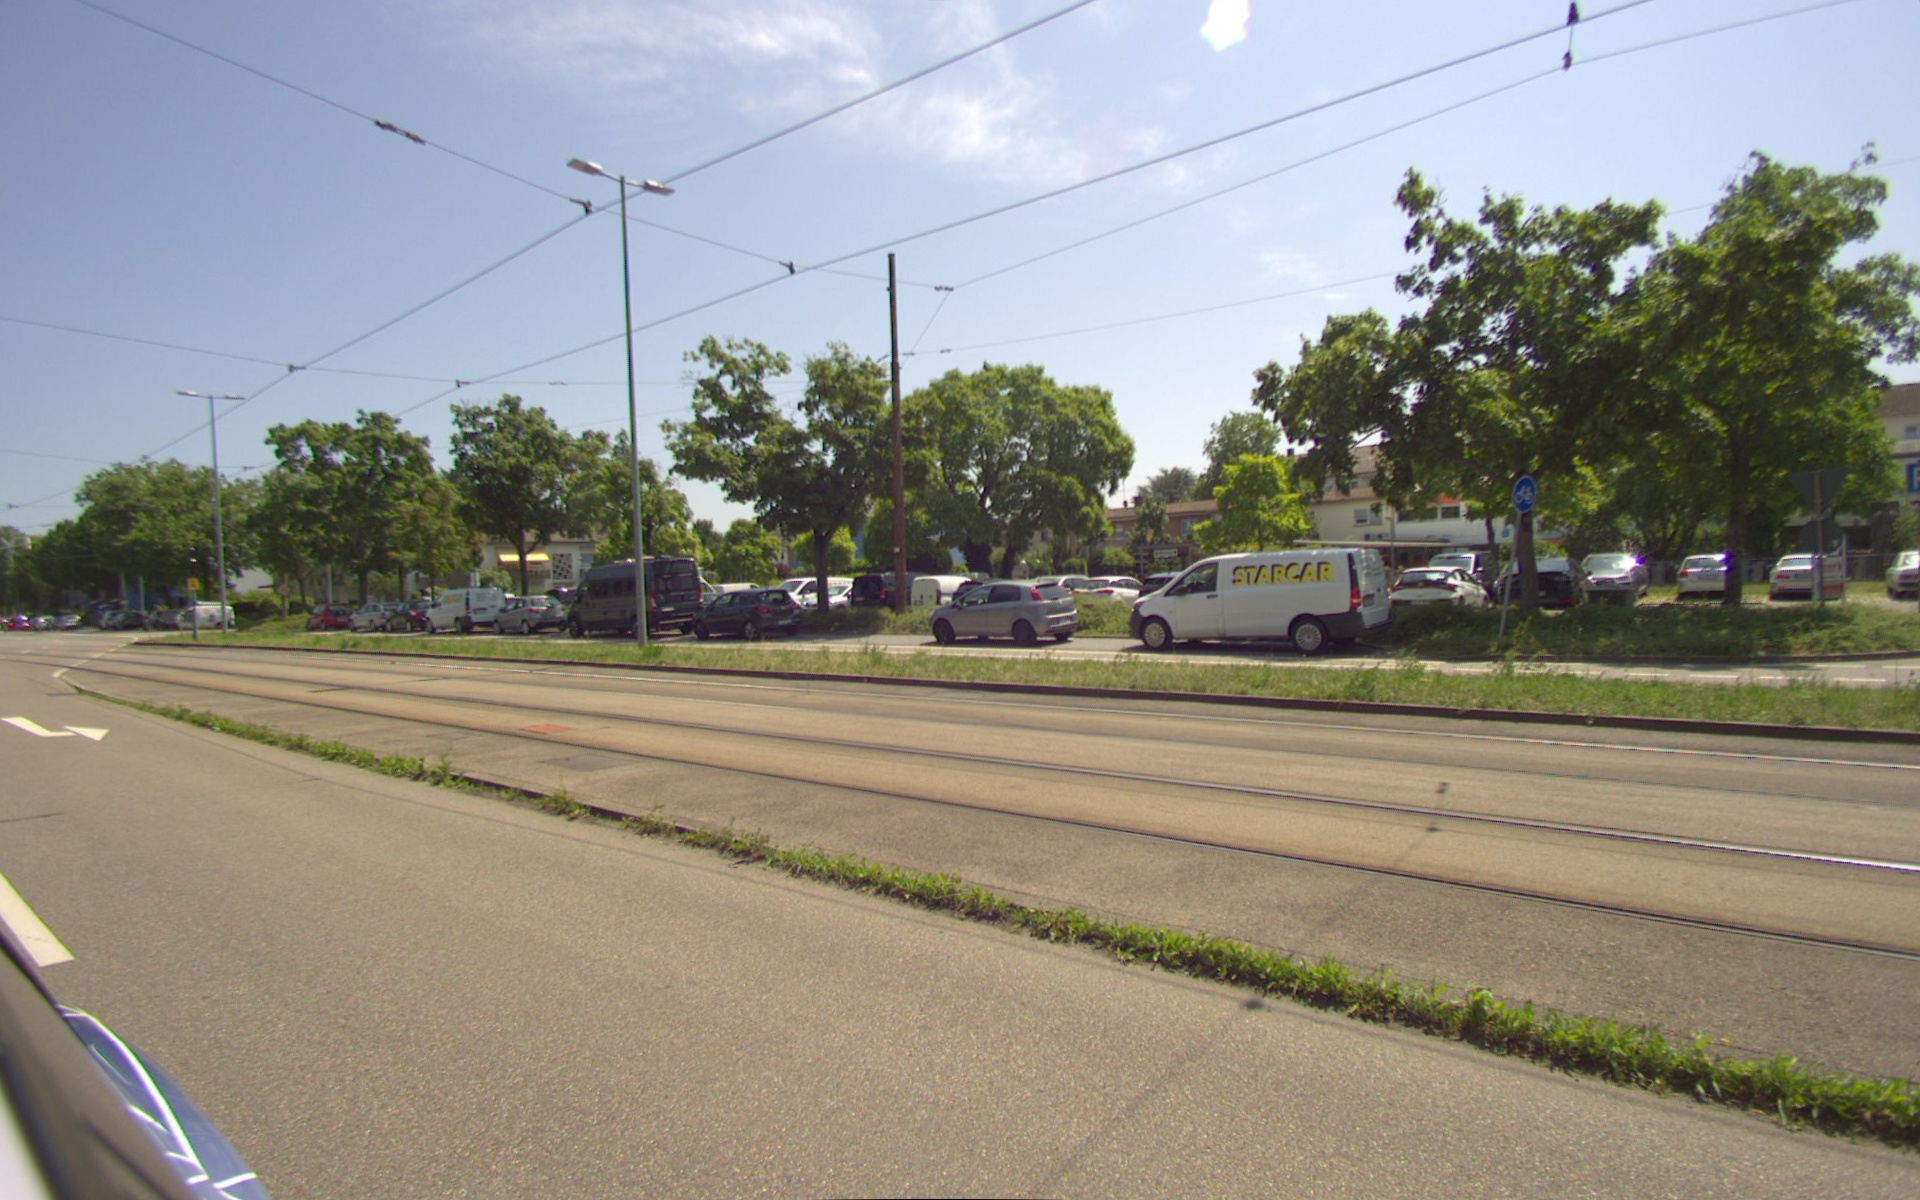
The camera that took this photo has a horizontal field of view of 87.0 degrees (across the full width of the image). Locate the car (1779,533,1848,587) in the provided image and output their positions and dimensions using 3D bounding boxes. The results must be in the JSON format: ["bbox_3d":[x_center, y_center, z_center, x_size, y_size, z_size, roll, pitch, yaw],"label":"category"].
[{"bbox_3d":[27.147,-1.230,32.144,1.520,1.591,3.944,0,1,43],"label":"car"}]

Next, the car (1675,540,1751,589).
[{"bbox_3d":[25.528,-1.168,34.254,1.661,1.531,3.944,0,1,43],"label":"car"}]

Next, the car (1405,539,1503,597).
[{"bbox_3d":[19.098,-1.196,39.002,2.225,2.085,5.056,0,1,40],"label":"car"}]

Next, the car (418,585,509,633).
[{"bbox_3d":[-21.630,0.380,44.031,4.816,1.963,1.899,0,1,42],"label":"car"}]

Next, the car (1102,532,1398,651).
[{"bbox_3d":[5.626,-0.169,20.177,5.342,2.025,1.856,-1,4,42],"label":"car"}]

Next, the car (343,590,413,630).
[{"bbox_3d":[-29.289,0.479,50.872,4.494,1.907,1.614,0,1,41],"label":"car"}]

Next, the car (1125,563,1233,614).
[{"bbox_3d":[7.078,-0.402,32.418,2.018,1.501,4.117,-1,1,33],"label":"car"}]

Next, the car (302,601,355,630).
[{"bbox_3d":[-34.359,0.809,55.052,3.423,1.491,1.561,0,1,43],"label":"car"}]

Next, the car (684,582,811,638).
[{"bbox_3d":[-6.496,0.271,30.825,3.750,1.589,1.950,0,1,41],"label":"car"}]

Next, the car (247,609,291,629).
[{"bbox_3d":[-43.149,1.191,63.179,3.423,1.167,1.561,0,1,43],"label":"car"}]

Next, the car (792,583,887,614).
[{"bbox_3d":[-5.071,-0.059,43.000,1.732,1.152,3.951,-1,1,36],"label":"car"}]

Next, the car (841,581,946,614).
[{"bbox_3d":[-2.662,-0.118,41.410,2.029,1.152,4.211,-1,1,36],"label":"car"}]

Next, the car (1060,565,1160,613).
[{"bbox_3d":[5.193,-0.393,34.577,1.827,1.501,4.030,-1,1,33],"label":"car"}]

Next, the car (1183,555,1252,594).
[{"bbox_3d":[11.696,-1.155,45.758,1.689,1.665,4.082,-1,1,35],"label":"car"}]

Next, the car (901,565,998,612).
[{"bbox_3d":[-0.360,-0.465,40.272,1.794,1.730,3.951,-1,1,36],"label":"car"}]

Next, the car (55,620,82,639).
[{"bbox_3d":[-92.639,3.013,105.125,3.983,1.867,1.681,0,1,43],"label":"car"}]

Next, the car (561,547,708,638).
[{"bbox_3d":[-11.264,-0.247,34.782,5.665,2.859,2.215,0,1,42],"label":"car"}]

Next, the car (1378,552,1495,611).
[{"bbox_3d":[13.279,-0.546,28.075,1.982,1.501,4.120,-1,1,39],"label":"car"}]

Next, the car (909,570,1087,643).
[{"bbox_3d":[0.848,0.144,24.393,4.124,1.513,1.633,-1,5,42],"label":"car"}]

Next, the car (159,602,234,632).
[{"bbox_3d":[-54.127,1.201,71.874,4.144,2.005,1.826,-1,1,-35],"label":"car"}]

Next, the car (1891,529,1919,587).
[{"bbox_3d":[28.973,-1.237,30.142,1.803,1.669,3.944,0,1,43],"label":"car"}]

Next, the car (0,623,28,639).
[{"bbox_3d":[-91.248,2.974,97.507,3.423,1.491,1.796,0,1,43],"label":"car"}]

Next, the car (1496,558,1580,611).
[{"bbox_3d":[14.862,-0.421,25.958,1.639,1.241,3.386,-1,1,33],"label":"car"}]

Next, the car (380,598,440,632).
[{"bbox_3d":[-25.882,0.682,47.569,3.261,1.489,1.411,0,1,41],"label":"car"}]

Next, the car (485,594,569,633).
[{"bbox_3d":[-17.274,0.517,40.313,3.607,1.475,1.744,0,1,42],"label":"car"}]

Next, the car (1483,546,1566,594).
[{"bbox_3d":[20.887,-1.076,37.364,1.803,1.669,3.944,0,1,43],"label":"car"}]

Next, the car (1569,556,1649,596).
[{"bbox_3d":[22.624,-0.817,35.222,1.764,1.294,3.676,0,1,42],"label":"car"}]

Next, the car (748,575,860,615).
[{"bbox_3d":[-6.916,-0.256,45.321,1.997,1.588,4.867,-1,1,38],"label":"car"}]

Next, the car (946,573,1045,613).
[{"bbox_3d":[1.382,-0.261,38.207,1.794,1.417,3.951,-1,0,36],"label":"car"}]
